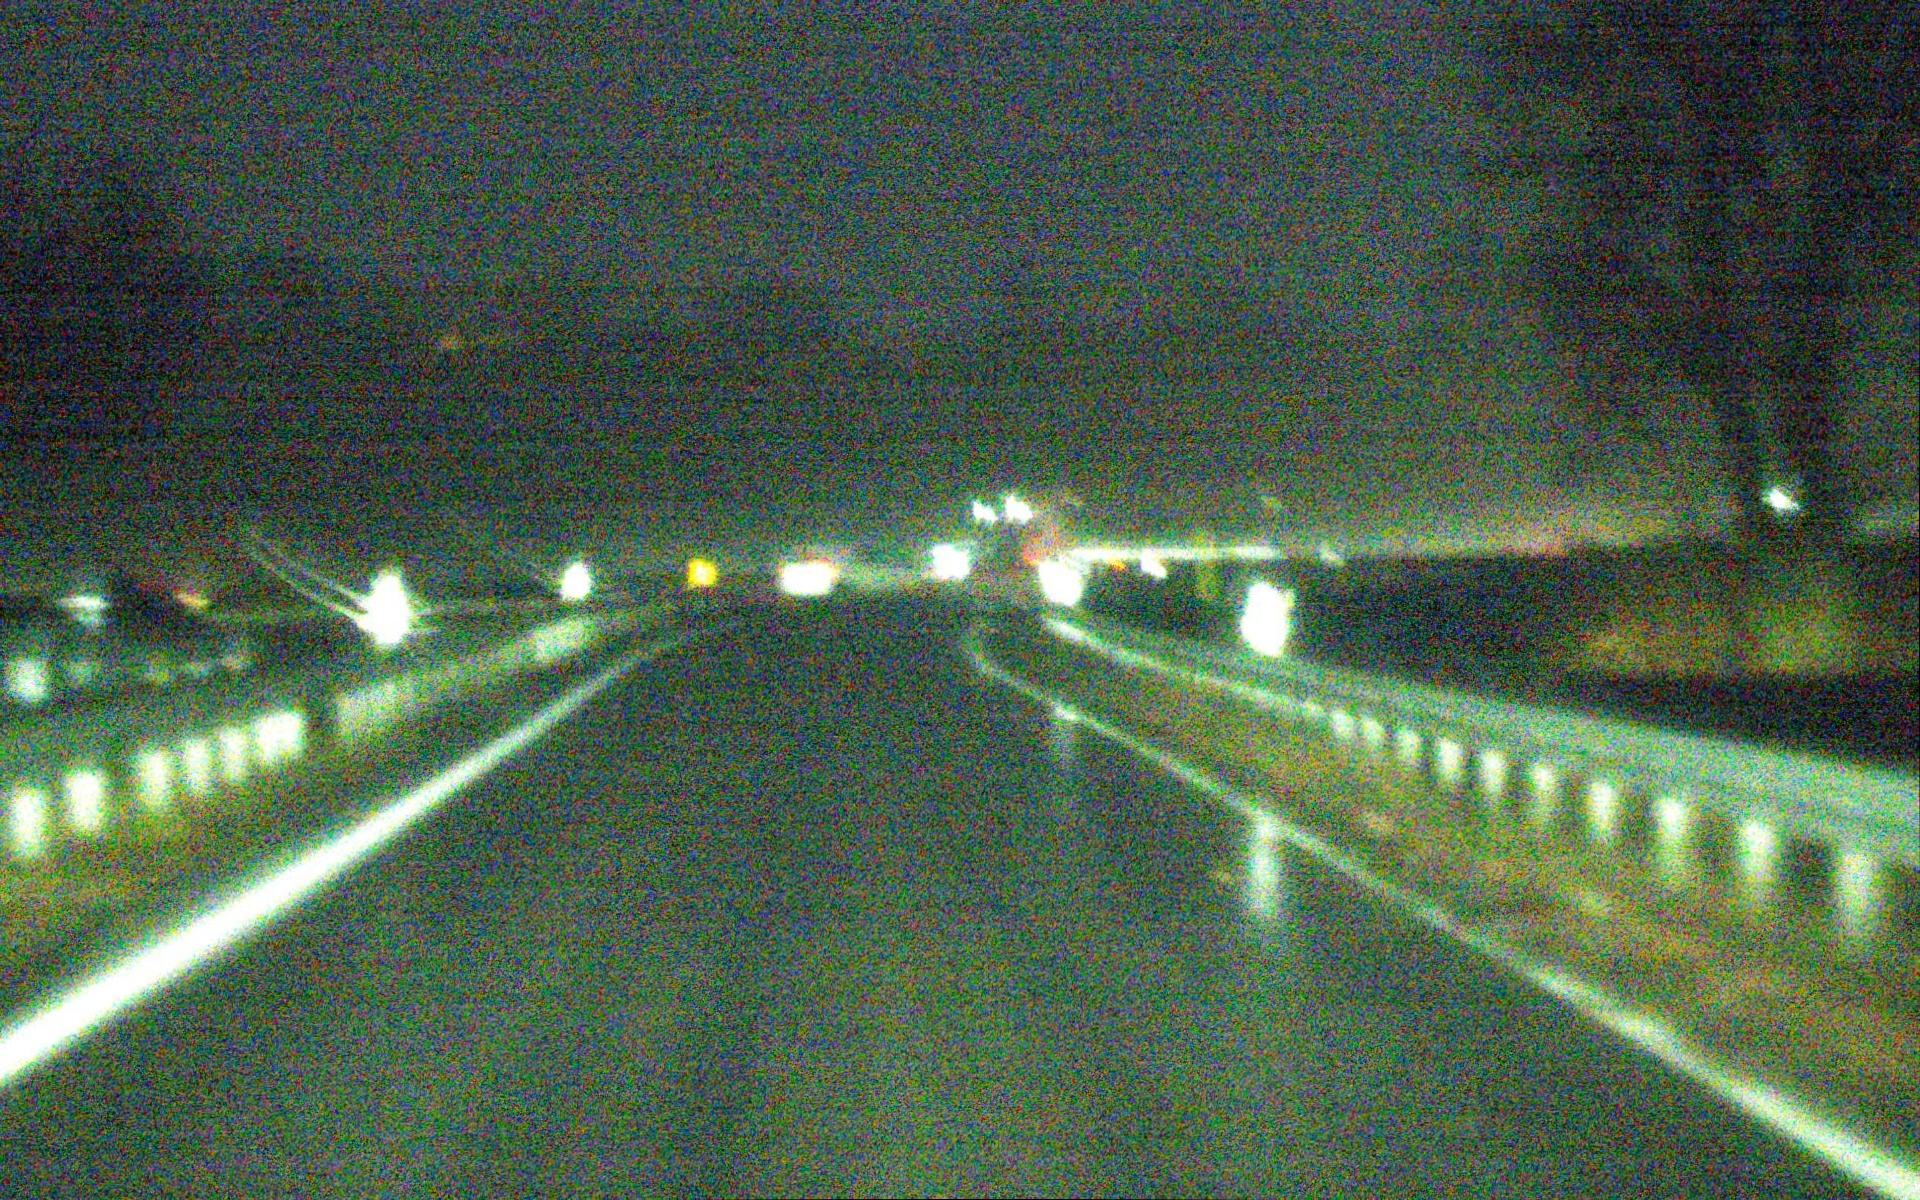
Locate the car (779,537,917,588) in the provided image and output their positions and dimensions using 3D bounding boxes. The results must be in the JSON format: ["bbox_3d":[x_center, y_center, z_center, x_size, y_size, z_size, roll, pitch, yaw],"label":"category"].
[{"bbox_3d":[-3.487,-1.183,107.836,3.989,1.514,1.999,-1,3,-43],"label":"car"}]

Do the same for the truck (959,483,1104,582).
[{"bbox_3d":[2.979,-2.841,142.339,5.733,4.015,2.778,-2,2,-43],"label":"truck"}]

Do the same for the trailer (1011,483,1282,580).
[{"bbox_3d":[8.139,-2.998,147.241,13.977,4.015,2.778,-2,2,-44],"label":"trailer"}]
